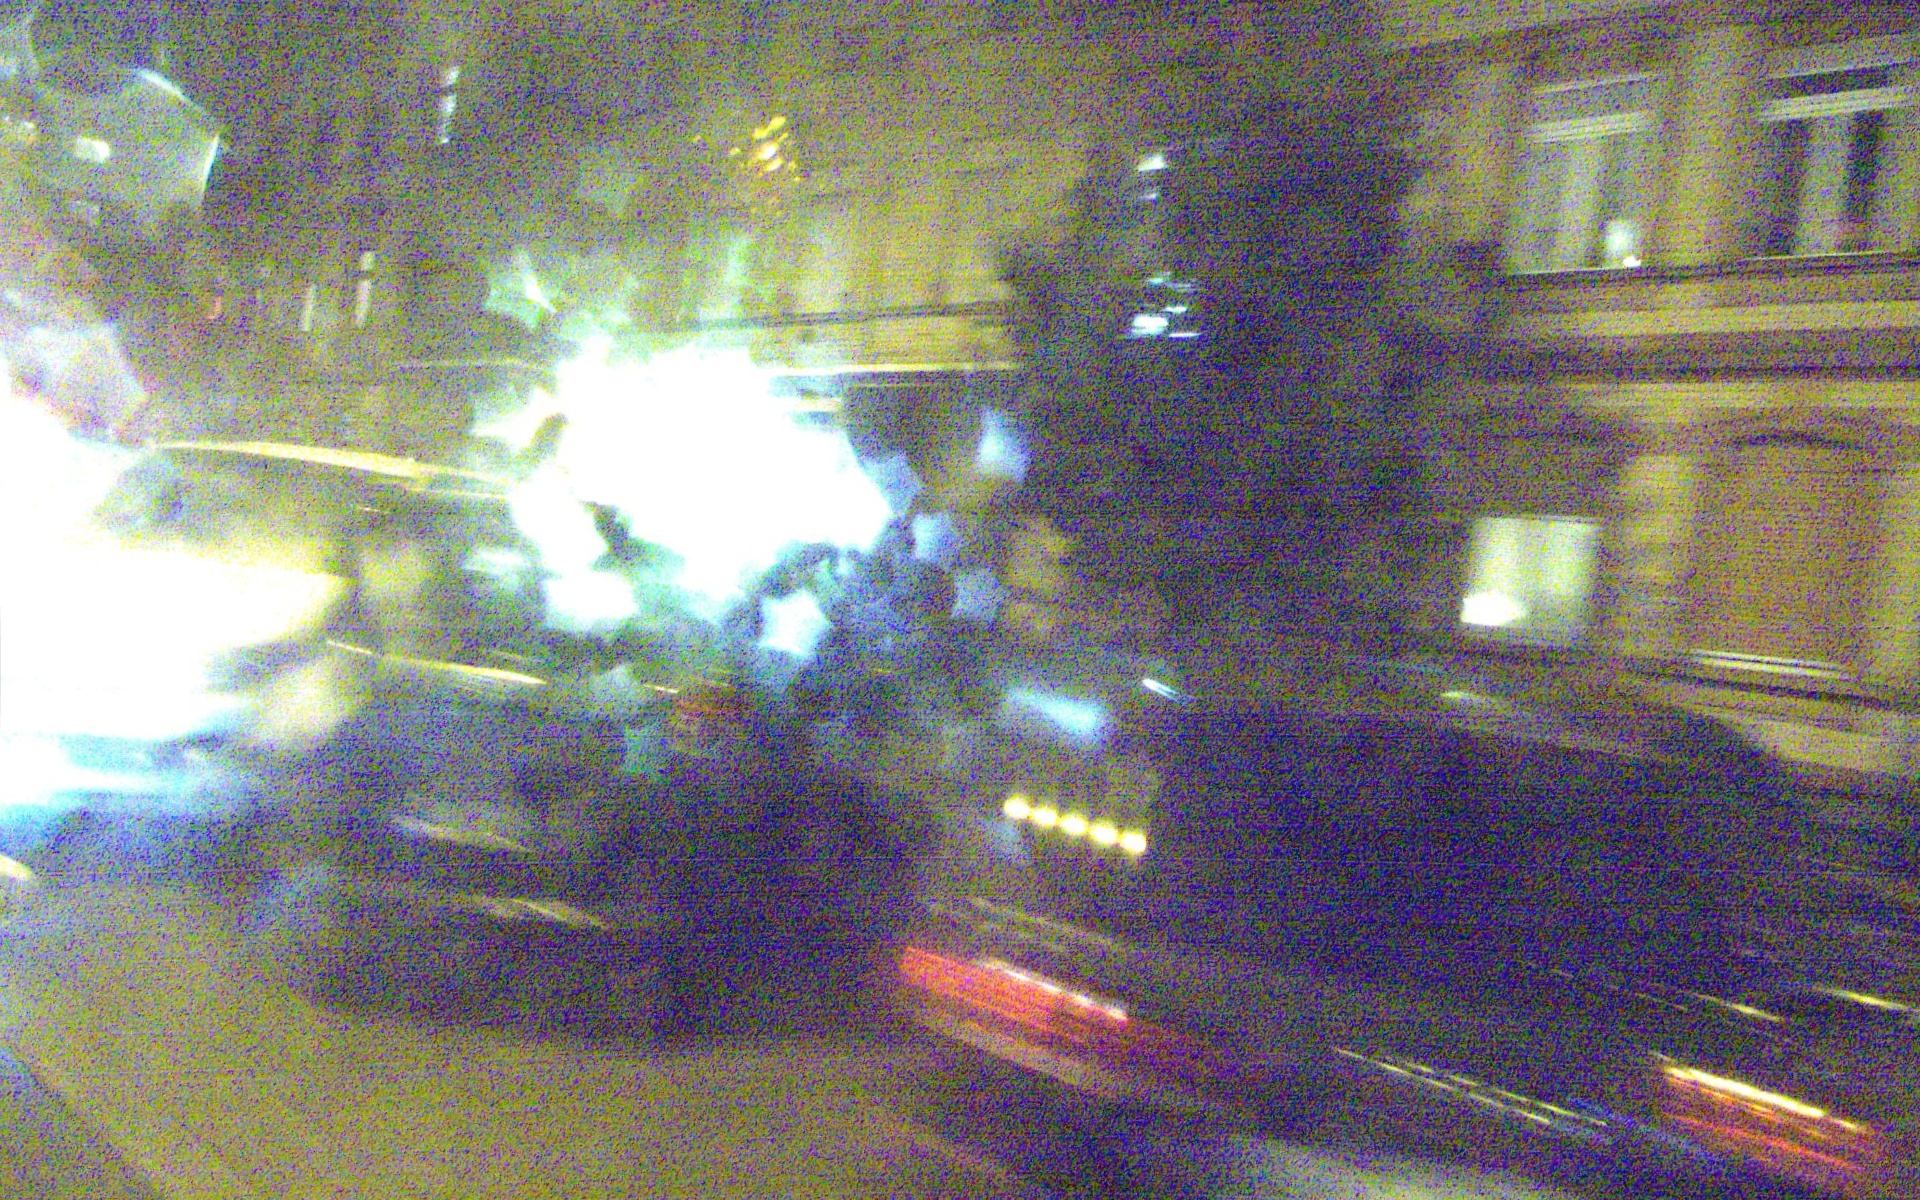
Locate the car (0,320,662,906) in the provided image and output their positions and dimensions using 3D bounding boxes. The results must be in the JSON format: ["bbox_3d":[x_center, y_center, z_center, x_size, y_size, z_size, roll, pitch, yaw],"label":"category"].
[{"bbox_3d":[-3.727,0.019,6.173,2.028,2.073,4.801,8,-1,1],"label":"car"}]

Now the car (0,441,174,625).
[{"bbox_3d":[-10.564,-0.774,10.599,1.695,1.864,3.745,6,1,-5],"label":"car"}]

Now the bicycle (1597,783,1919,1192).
[{"bbox_3d":[3.176,1.286,3.270,1.794,1.090,0.446,7,2,0],"label":"bicycle"}]

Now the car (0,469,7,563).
[{"bbox_3d":[-16.135,-1.330,14.070,1.847,1.608,3.994,7,1,-4],"label":"car"}]

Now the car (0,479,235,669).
[{"bbox_3d":[-8.472,-0.312,8.823,1.695,1.503,3.561,6,1,-4],"label":"car"}]

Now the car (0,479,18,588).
[{"bbox_3d":[-13.633,-0.956,11.900,1.642,1.471,3.562,6,1,-3],"label":"car"}]

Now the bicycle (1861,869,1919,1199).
[{"bbox_3d":[3.147,1.313,2.214,1.794,1.090,0.519,7,1,0],"label":"bicycle"}]

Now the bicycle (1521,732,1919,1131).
[{"bbox_3d":[3.183,1.232,3.744,1.794,1.206,0.446,7,2,0],"label":"bicycle"}]

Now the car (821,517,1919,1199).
[{"bbox_3d":[0.723,0.718,3.372,1.702,1.512,3.998,6,1,1],"label":"car"}]

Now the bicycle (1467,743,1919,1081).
[{"bbox_3d":[3.196,1.284,4.208,1.794,1.090,0.446,7,2,0],"label":"bicycle"}]

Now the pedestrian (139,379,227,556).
[{"bbox_3d":[-16.484,-2.797,21.345,0.778,3.569,0.893,7,0,32],"label":"pedestrian"}]

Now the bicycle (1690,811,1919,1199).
[{"bbox_3d":[3.159,1.285,2.766,1.794,1.090,0.519,7,1,0],"label":"bicycle"}]

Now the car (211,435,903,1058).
[{"bbox_3d":[-1.359,0.437,4.864,1.615,1.733,3.564,6,1,3],"label":"car"}]

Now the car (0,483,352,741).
[{"bbox_3d":[-6.317,-0.014,7.400,1.423,1.513,3.513,6,1,0],"label":"car"}]
